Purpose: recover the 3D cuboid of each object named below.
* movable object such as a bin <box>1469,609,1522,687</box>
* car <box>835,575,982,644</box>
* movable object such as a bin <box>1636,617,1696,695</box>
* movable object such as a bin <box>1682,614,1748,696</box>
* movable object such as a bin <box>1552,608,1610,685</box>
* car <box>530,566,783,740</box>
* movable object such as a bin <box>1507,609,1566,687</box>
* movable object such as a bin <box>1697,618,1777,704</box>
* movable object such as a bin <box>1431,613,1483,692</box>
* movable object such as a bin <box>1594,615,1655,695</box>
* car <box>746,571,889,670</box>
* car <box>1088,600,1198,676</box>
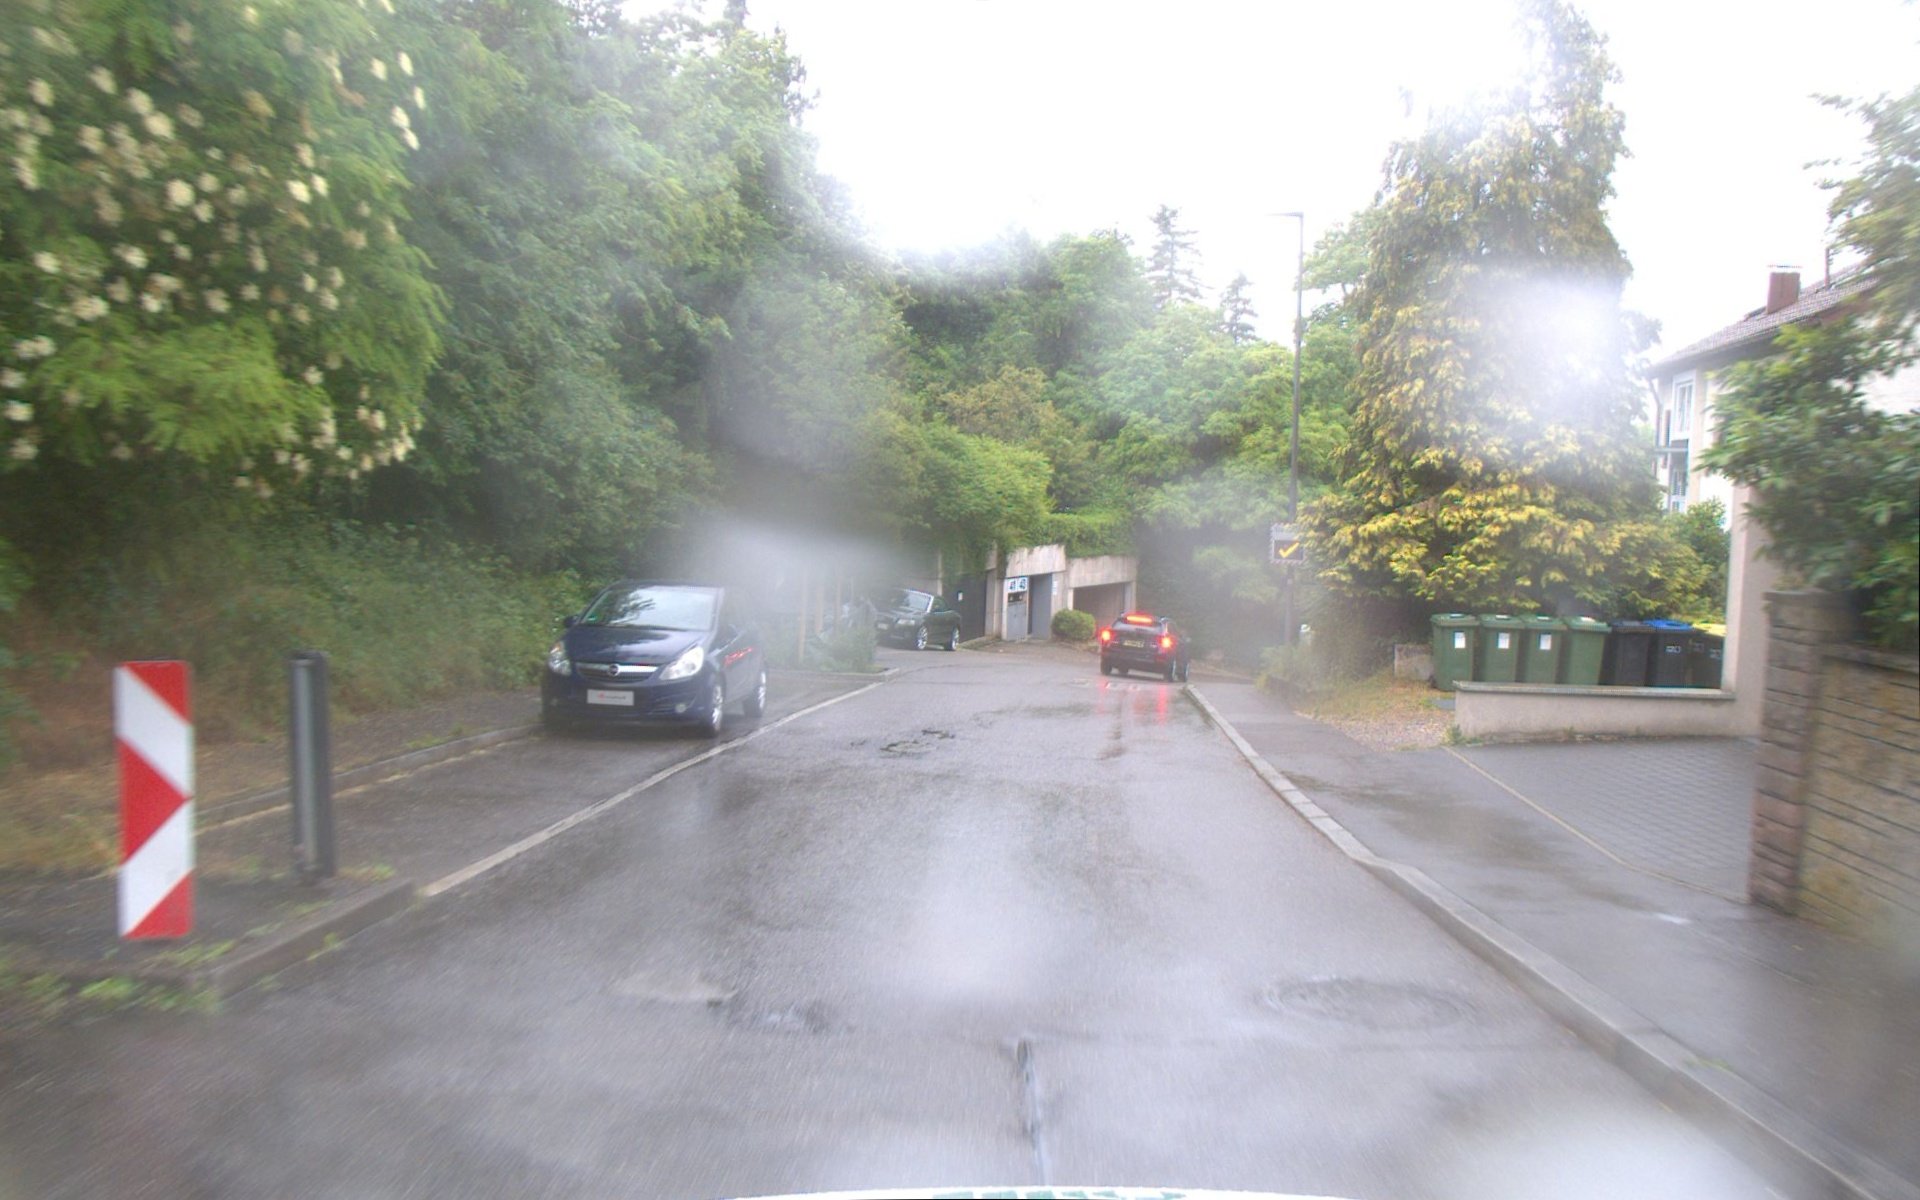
[{"bbox_3d":[7.637,0.676,23.606,0.534,1.085,0.692,1,0,2],"label":"movable object such as a bin"},{"bbox_3d":[-1.193,0.234,40.786,1.953,1.534,4.570,2,0,22],"label":"car"},{"bbox_3d":[10.092,0.788,23.645,0.569,1.085,0.702,1,0,2],"label":"movable object such as a bin"},{"bbox_3d":[10.886,0.791,23.854,0.685,1.084,0.583,-2,5,2],"label":"movable object such as a bin"},{"bbox_3d":[8.889,0.658,23.684,0.569,1.085,0.702,1,0,2],"label":"movable object such as a bin"},{"bbox_3d":[-2.945,0.447,16.879,1.664,1.497,4.001,2,1,2],"label":"car"},{"bbox_3d":[8.216,0.675,23.592,0.613,1.085,0.702,1,0,2],"label":"movable object such as a bin"},{"bbox_3d":[10.857,0.847,23.140,0.797,1.084,0.709,-2,5,2],"label":"movable object such as a bin"},{"bbox_3d":[7.093,0.740,23.619,0.549,1.085,0.702,1,0,2],"label":"movable object such as a bin"},{"bbox_3d":[9.485,0.777,23.630,0.588,1.105,0.702,1,0,2],"label":"movable object such as a bin"},{"bbox_3d":[-2.613,0.363,31.239,1.951,1.669,4.003,2,0,5],"label":"car"},{"bbox_3d":[4.435,0.919,39.576,1.830,1.538,4.095,6,0,16],"label":"car"}]
